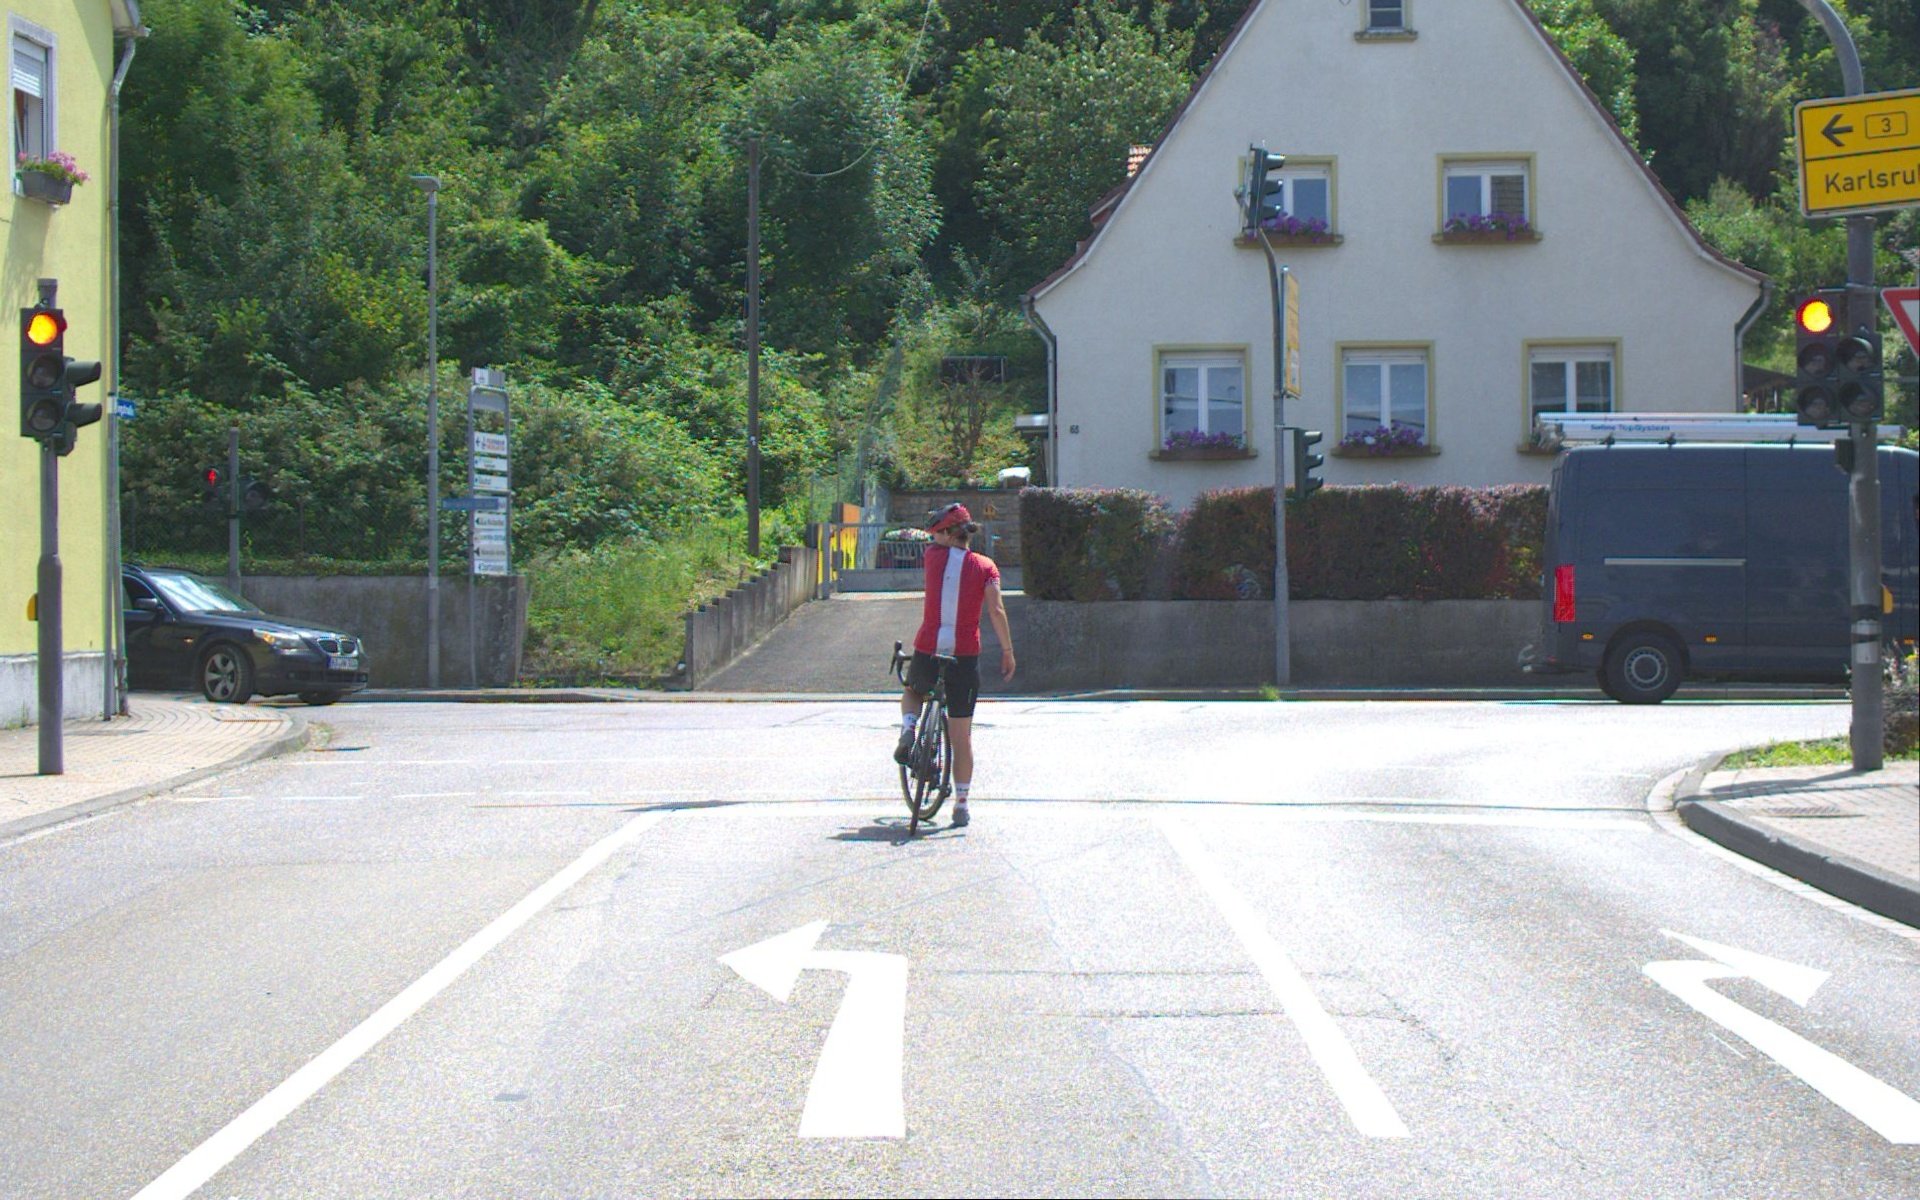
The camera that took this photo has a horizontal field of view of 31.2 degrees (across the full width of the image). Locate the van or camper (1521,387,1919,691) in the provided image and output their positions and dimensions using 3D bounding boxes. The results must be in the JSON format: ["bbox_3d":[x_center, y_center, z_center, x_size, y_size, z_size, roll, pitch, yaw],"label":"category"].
[{"bbox_3d":[8.791,-0.609,35.079,5.994,2.994,2.218,0,0,8],"label":"van or camper"}]

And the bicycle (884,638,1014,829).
[{"bbox_3d":[-0.045,0.674,17.917,0.630,0.902,1.657,1,1,1],"label":"bicycle"}]

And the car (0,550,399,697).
[{"bbox_3d":[-8.464,0.255,36.373,4.660,1.437,1.868,-1,1,21],"label":"car"}]

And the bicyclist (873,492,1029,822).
[{"bbox_3d":[-0.041,0.283,17.887,0.761,1.659,0.869,1,1,1],"label":"bicyclist"}]
